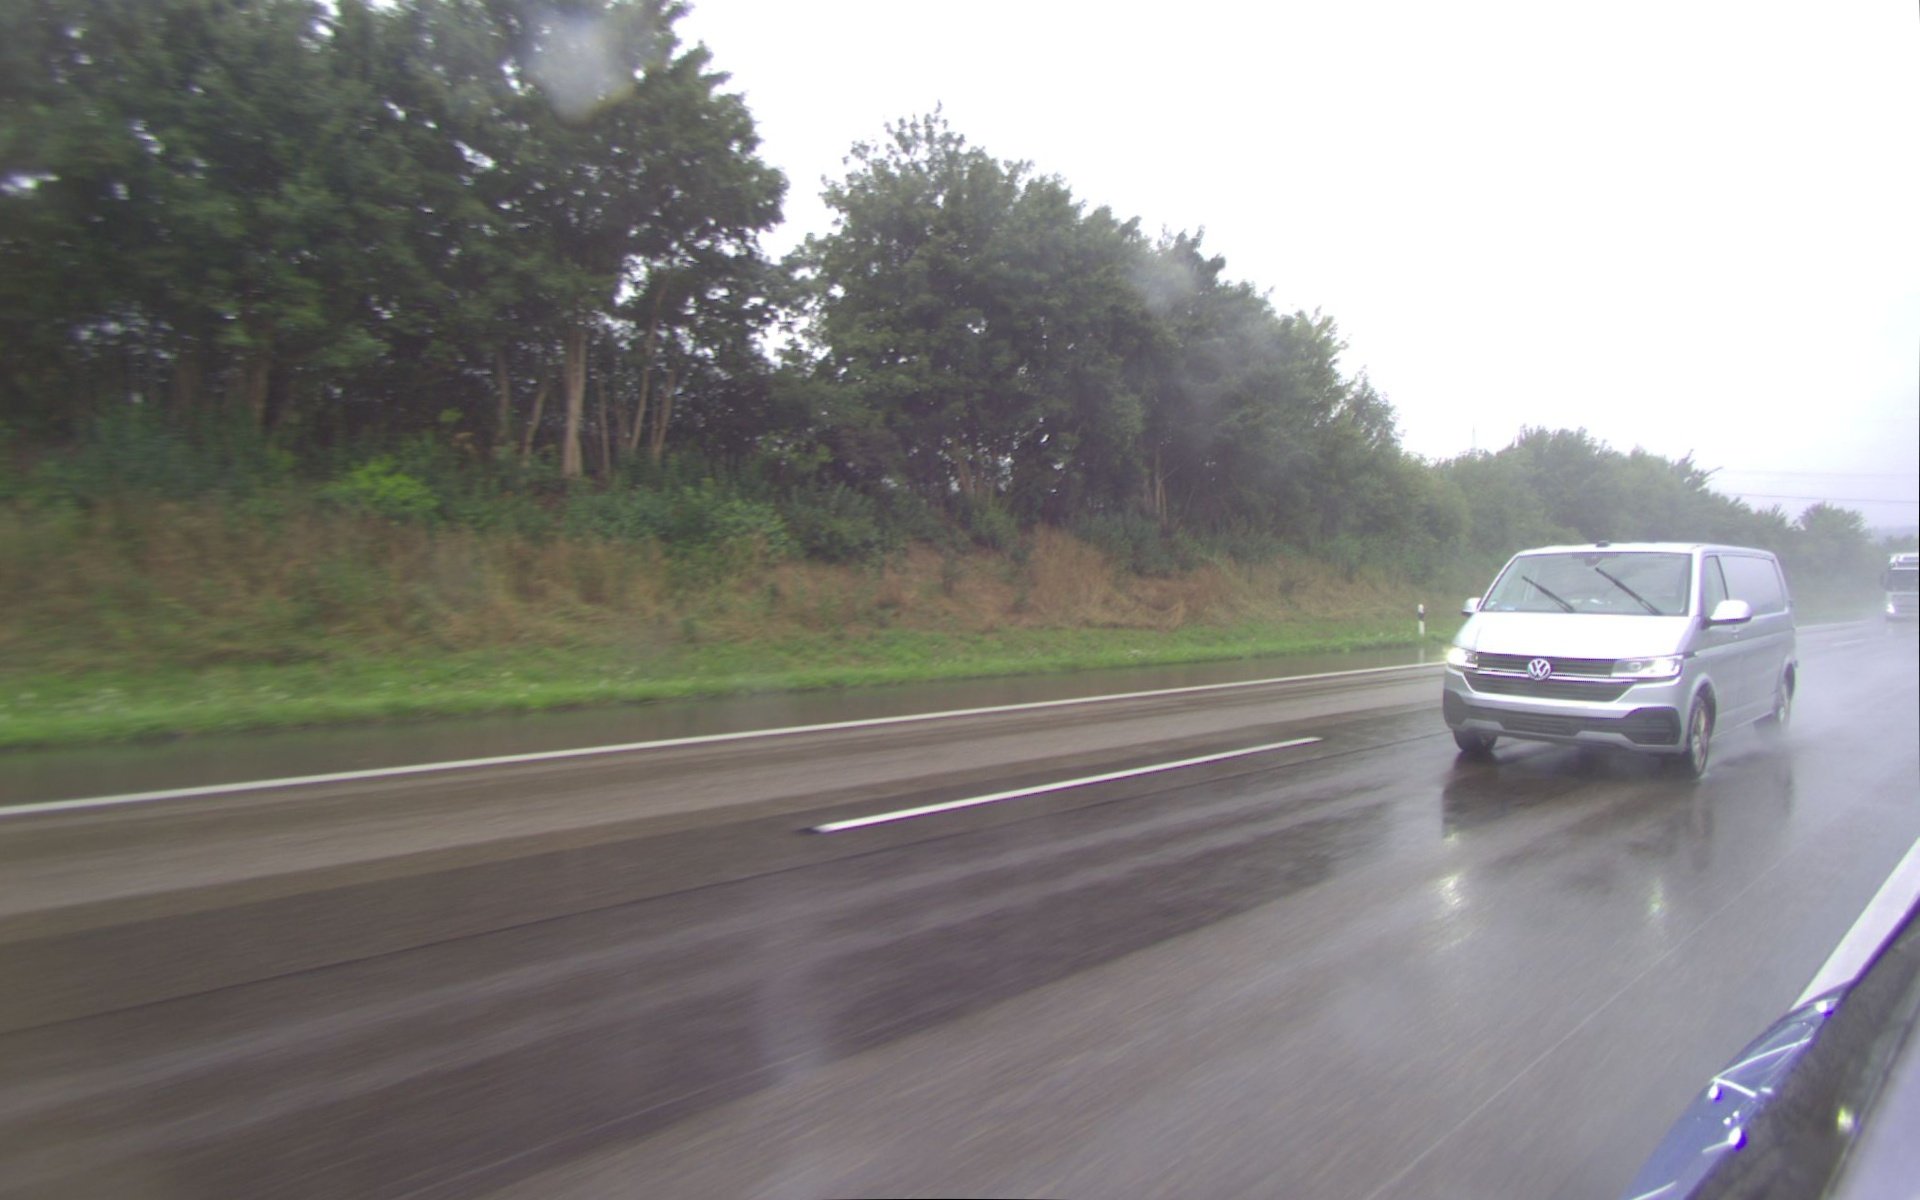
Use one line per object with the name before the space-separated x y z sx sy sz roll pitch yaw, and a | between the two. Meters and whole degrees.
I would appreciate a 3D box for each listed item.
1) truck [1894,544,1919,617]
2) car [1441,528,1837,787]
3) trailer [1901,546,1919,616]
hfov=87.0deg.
truck | 56.963 -1.128 59.362 5.146 4.139 2.617 0 1 -41
car | 6.723 0.394 9.768 4.920 1.907 1.891 0 1 -40
trailer | 62.312 -1.147 64.053 13.549 4.139 2.617 0 1 -41
